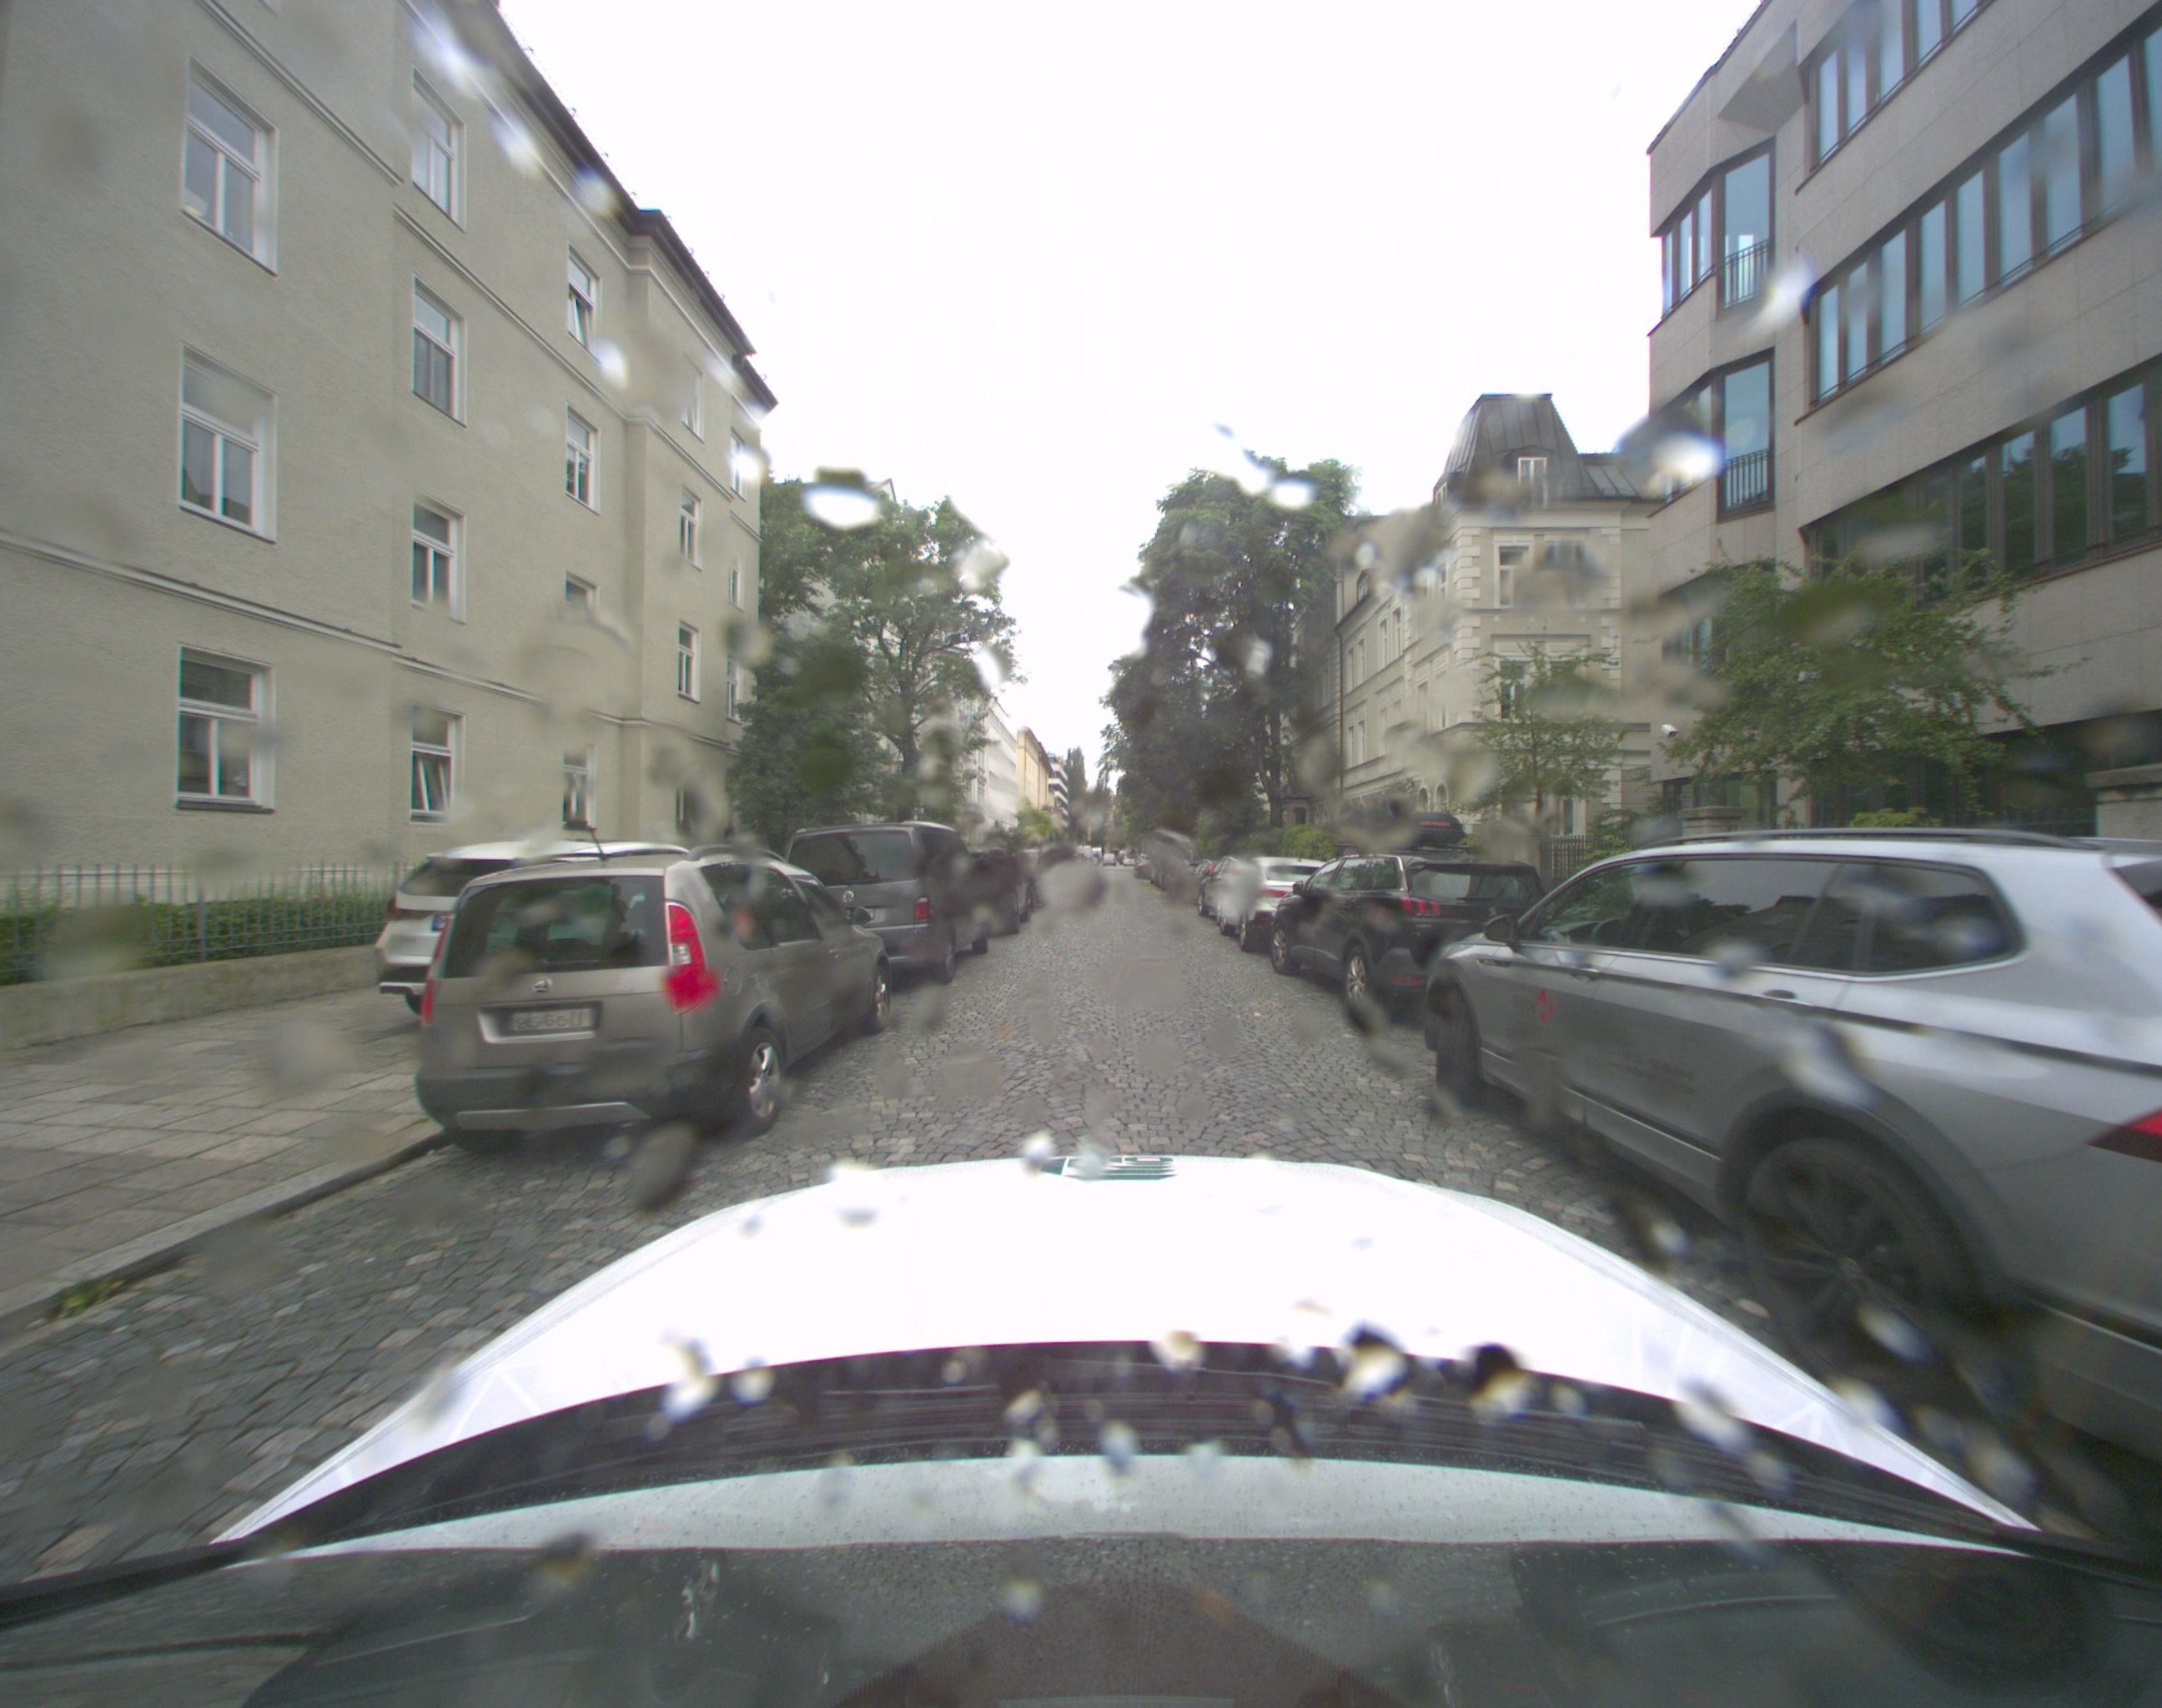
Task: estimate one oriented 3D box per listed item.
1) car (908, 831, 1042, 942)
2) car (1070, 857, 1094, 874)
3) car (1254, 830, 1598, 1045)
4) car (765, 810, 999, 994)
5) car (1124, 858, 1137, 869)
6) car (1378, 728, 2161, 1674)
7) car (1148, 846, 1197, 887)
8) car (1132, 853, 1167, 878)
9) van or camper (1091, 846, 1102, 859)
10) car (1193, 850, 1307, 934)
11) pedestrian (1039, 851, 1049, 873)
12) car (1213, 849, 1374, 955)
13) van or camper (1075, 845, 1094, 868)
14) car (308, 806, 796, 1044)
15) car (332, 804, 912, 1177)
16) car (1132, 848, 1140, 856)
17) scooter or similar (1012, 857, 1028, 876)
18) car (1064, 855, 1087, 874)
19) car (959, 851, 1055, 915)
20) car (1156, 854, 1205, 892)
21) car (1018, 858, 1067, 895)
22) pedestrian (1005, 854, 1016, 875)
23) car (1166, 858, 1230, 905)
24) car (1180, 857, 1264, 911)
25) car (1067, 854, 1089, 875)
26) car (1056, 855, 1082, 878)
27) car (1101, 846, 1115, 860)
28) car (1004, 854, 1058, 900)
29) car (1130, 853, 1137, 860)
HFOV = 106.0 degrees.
[{"bbox_3d":[-2.056,0.609,17.445,1.986,1.917,5.178,-3,0,1],"label":"car"},{"bbox_3d":[0.144,1.118,80.001,1.864,1.580,4.214,3,0,5],"label":"car"},{"bbox_3d":[3.486,0.730,9.407,1.867,1.735,4.746,4,0,0],"label":"car"},{"bbox_3d":[-2.376,0.526,11.127,1.866,1.917,4.828,-2,0,1],"label":"car"},{"bbox_3d":[7.044,1.365,115.930,1.783,1.520,4.002,1,0,3],"label":"car"},{"bbox_3d":[3.074,0.686,3.713,1.865,1.735,4.896,2,0,3],"label":"car"},{"bbox_3d":[4.641,0.623,42.094,1.867,1.928,5.163,3,0,0],"label":"car"},{"bbox_3d":[4.525,0.769,54.337,1.867,1.503,4.510,3,0,0],"label":"car"},{"bbox_3d":[3.460,-0.362,179.516,2.247,2.742,5.100,1,0,2],"label":"van or camper"},{"bbox_3d":[3.883,0.808,19.516,1.866,1.670,4.659,3,0,2],"label":"car"},{"bbox_3d":[-3.260,0.703,71.945,0.789,1.917,0.759,2,0,1],"label":"pedestrian"},{"bbox_3d":[3.526,0.705,14.395,1.865,1.490,4.621,3,0,4],"label":"car"},{"bbox_3d":[0.459,0.297,94.962,1.985,2.652,4.002,-2,-1,2],"label":"van or camper"},{"bbox_3d":[-4.901,0.560,8.624,1.938,1.735,4.658,3,0,1],"label":"car"},{"bbox_3d":[-2.674,0.660,6.150,1.859,1.735,4.402,-2,0,-1],"label":"car"},{"bbox_3d":[14.815,-0.512,218.712,1.985,2.014,4.002,1,-1,2],"label":"car"},{"bbox_3d":[-4.822,0.996,64.668,0.937,1.442,2.657,0,0,2],"label":"scooter or similar"},{"bbox_3d":[-0.445,0.867,68.280,1.867,1.451,4.207,-1,0,0],"label":"car"},{"bbox_3d":[-1.965,0.742,23.084,1.970,1.561,5.021,-1,0,3],"label":"car"},{"bbox_3d":[4.405,0.813,36.623,1.829,1.490,4.424,3,0,3],"label":"car"},{"bbox_3d":[-1.599,0.936,35.304,1.777,1.417,4.497,-3,0,1],"label":"car"},{"bbox_3d":[-5.639,0.855,65.201,0.715,1.687,0.695,1,-1,1],"label":"pedestrian"},{"bbox_3d":[4.144,0.931,29.516,1.707,1.472,4.269,3,0,1],"label":"car"},{"bbox_3d":[4.253,0.869,25.122,1.690,1.440,4.058,3,0,-2],"label":"car"},{"bbox_3d":[-0.254,0.933,74.570,1.866,1.776,4.123,-3,0,1],"label":"car"},{"bbox_3d":[-0.880,0.935,62.198,1.867,1.580,4.254,-2,0,0],"label":"car"},{"bbox_3d":[3.938,-0.105,117.727,1.985,2.014,4.002,1,0,2],"label":"car"},{"bbox_3d":[-1.646,0.735,28.112,1.657,1.444,4.169,-1,0,-1],"label":"car"},{"bbox_3d":[15.717,0.653,243.280,1.985,2.014,4.002,1,-1,2],"label":"car"}]
